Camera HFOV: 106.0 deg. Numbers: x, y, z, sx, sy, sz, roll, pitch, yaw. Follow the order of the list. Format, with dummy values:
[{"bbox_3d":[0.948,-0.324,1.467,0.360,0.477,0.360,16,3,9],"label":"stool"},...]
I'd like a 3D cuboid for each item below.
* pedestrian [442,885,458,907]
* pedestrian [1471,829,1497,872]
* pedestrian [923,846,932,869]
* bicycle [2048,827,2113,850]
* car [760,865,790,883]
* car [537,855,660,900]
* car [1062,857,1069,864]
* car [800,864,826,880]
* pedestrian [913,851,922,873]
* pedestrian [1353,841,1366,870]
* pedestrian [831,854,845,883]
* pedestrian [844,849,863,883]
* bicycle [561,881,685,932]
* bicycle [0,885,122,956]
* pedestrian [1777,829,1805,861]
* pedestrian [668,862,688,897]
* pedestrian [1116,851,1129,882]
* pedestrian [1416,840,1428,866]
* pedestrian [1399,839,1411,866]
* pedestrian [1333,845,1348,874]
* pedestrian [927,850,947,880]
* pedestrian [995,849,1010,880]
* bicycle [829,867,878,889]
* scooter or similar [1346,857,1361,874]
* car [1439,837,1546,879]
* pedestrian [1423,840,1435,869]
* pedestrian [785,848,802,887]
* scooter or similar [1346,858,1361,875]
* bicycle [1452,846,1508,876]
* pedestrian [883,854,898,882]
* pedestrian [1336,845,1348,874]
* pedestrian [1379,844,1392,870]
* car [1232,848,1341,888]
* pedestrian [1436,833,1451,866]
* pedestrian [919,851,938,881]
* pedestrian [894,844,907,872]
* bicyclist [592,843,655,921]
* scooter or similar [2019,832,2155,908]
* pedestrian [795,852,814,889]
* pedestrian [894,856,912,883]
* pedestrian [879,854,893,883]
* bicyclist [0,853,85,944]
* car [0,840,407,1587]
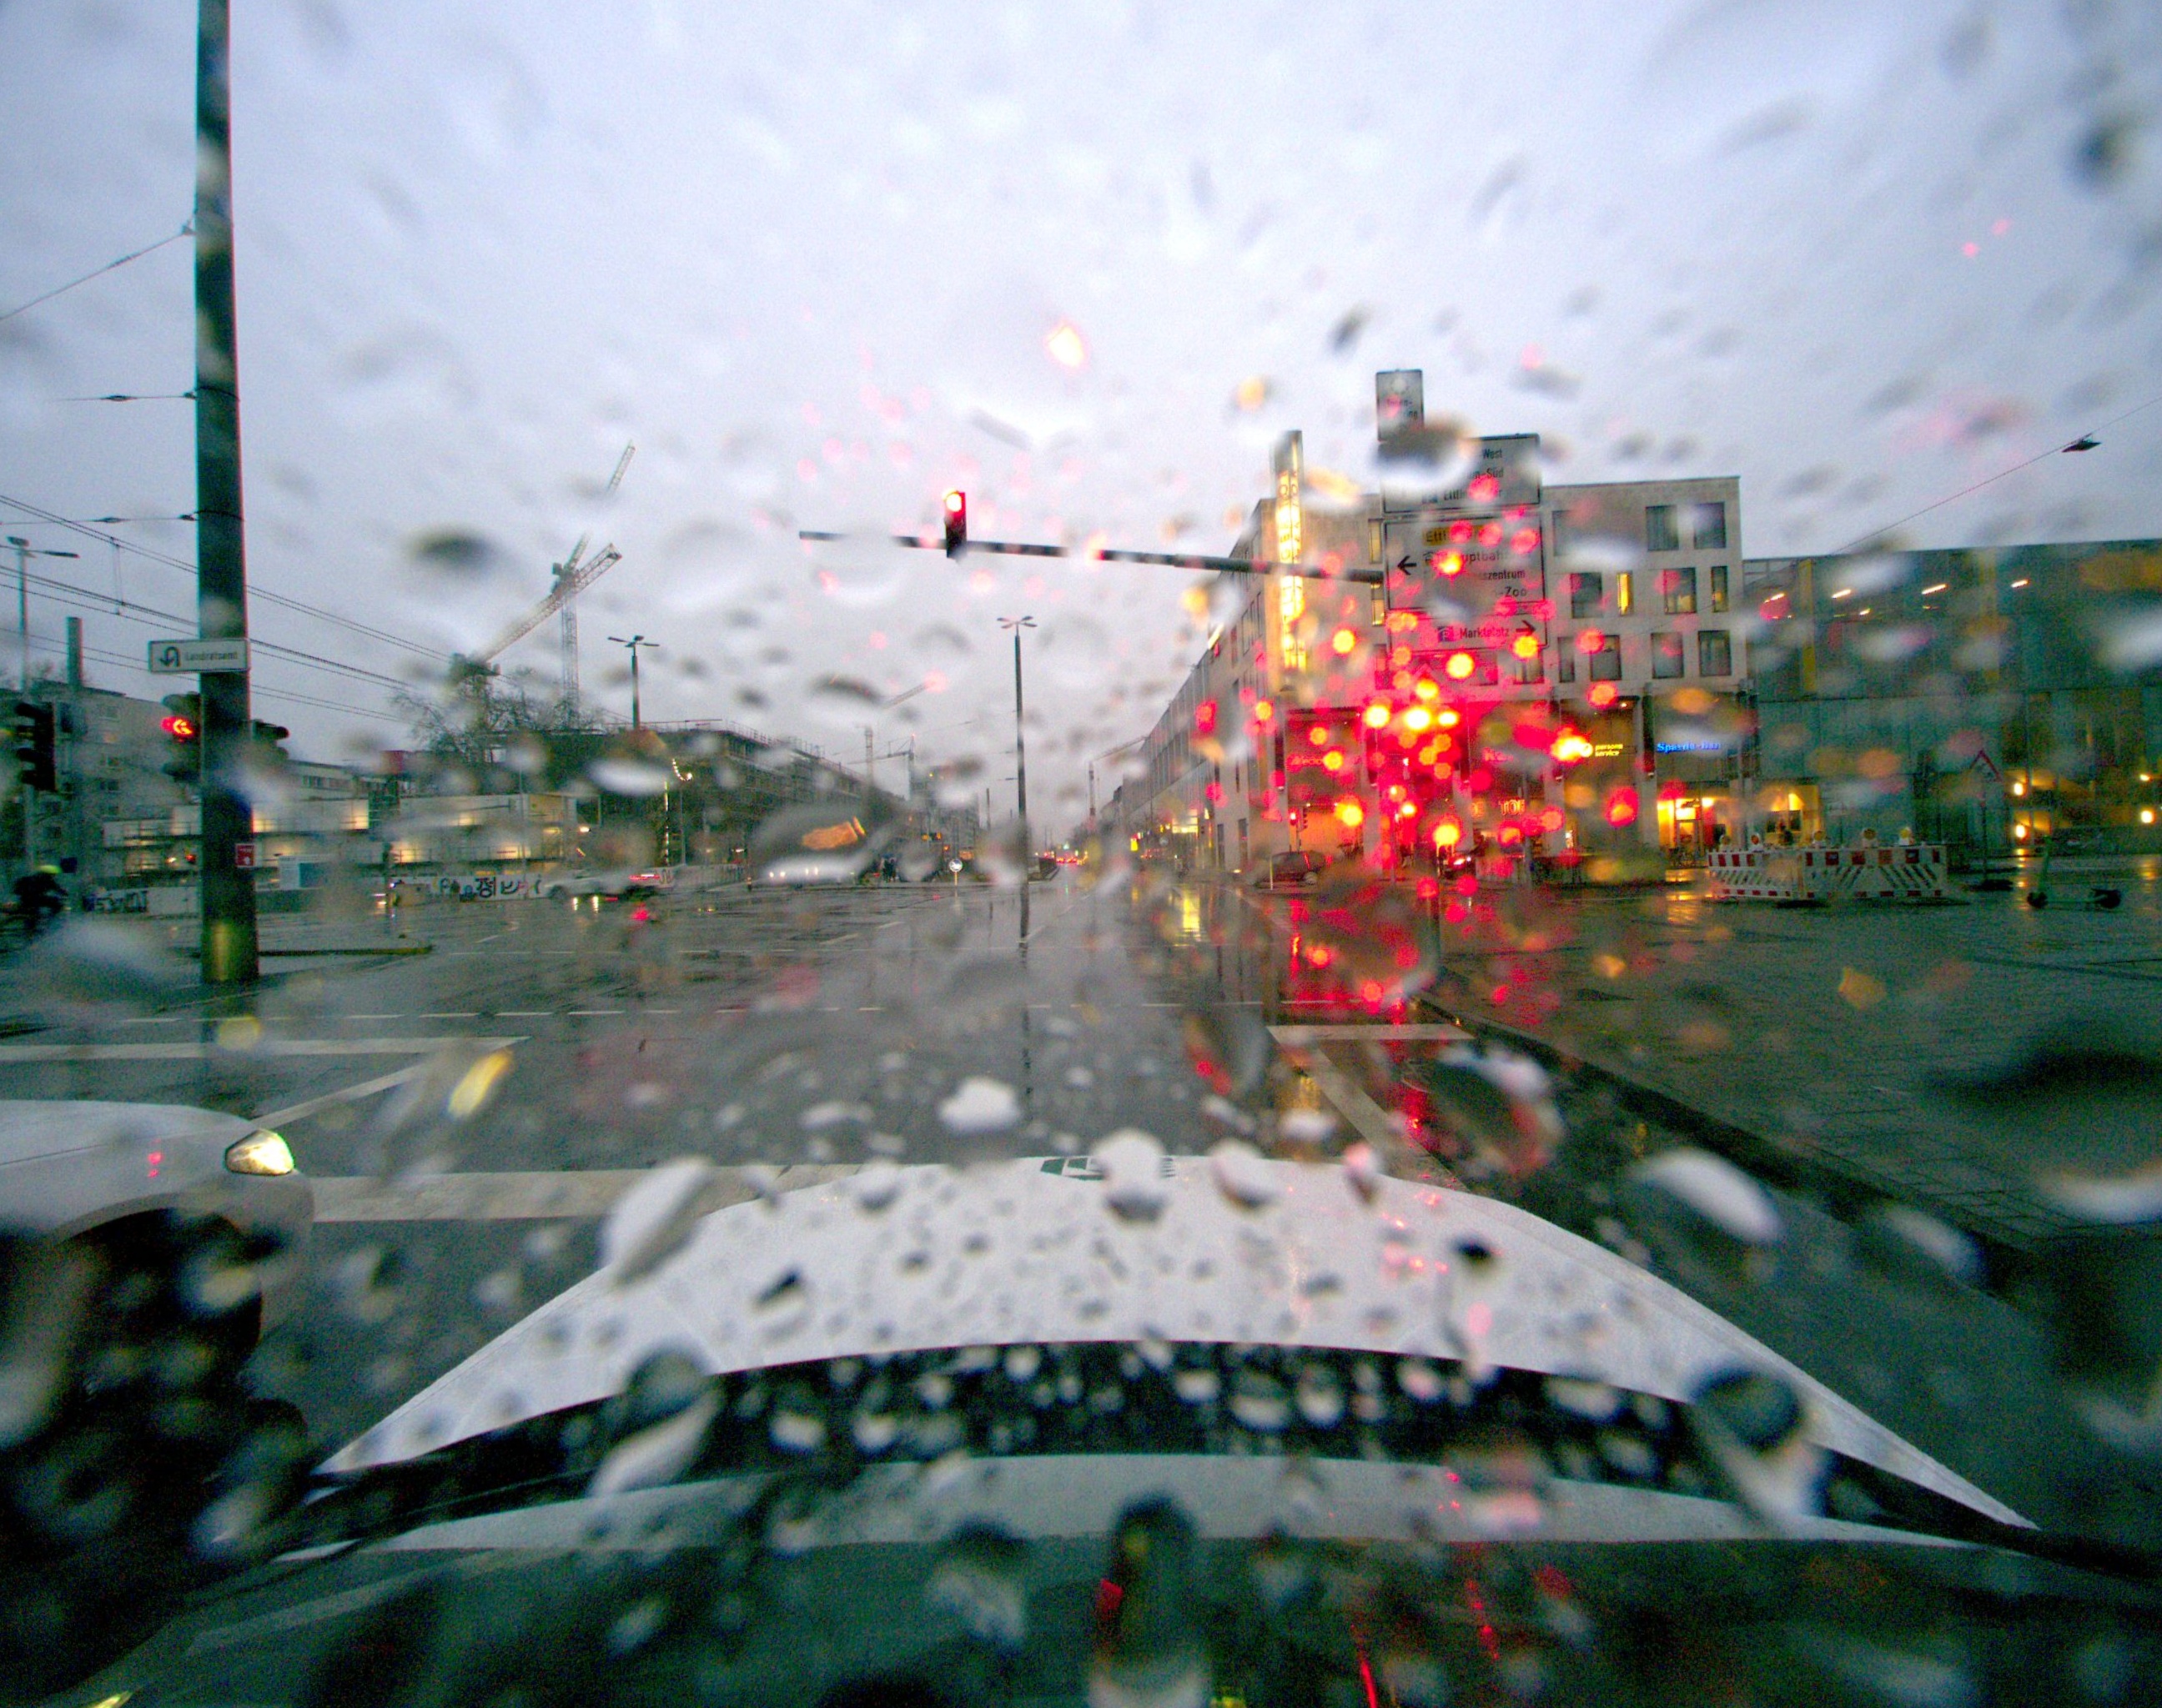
[{"bbox_3d":[-45.193,2.975,58.356,0.799,1.529,0.639,-2,-1,-33],"label":"pedestrian"},{"bbox_3d":[15.527,-0.133,31.393,0.775,1.595,0.616,-2,-1,17],"label":"pedestrian"},{"bbox_3d":[-12.089,0.297,64.108,0.660,1.746,0.733,-2,-1,-9],"label":"pedestrian"},{"bbox_3d":[48.577,-0.747,39.606,0.613,1.033,2.138,-2,0,3],"label":"bicycle"},{"bbox_3d":[-35.282,2.280,93.917,1.988,2.013,3.997,-2,0,-2],"label":"car"},{"bbox_3d":[-20.860,0.988,35.310,4.286,1.761,1.708,-2,0,2],"label":"car"},{"bbox_3d":[-4.366,1.855,229.997,1.881,1.783,3.715,-1,-1,2],"label":"car"},{"bbox_3d":[-35.461,2.395,107.916,1.986,2.013,4.002,-2,0,2],"label":"car"},{"bbox_3d":[-13.363,0.631,66.469,0.610,1.746,0.620,-2,-1,-4],"label":"pedestrian"},{"bbox_3d":[17.091,0.087,49.977,0.530,1.718,0.505,-3,-1,39],"label":"pedestrian"},{"bbox_3d":[-13.985,0.831,46.867,0.679,1.619,0.705,-2,-1,-16],"label":"pedestrian"},{"bbox_3d":[-10.735,0.556,38.436,0.814,1.570,0.535,0,-3,-8],"label":"pedestrian"},{"bbox_3d":[-10.362,1.183,18.483,2.369,1.033,0.616,-2,-1,-6],"label":"bicycle"},{"bbox_3d":[-22.216,1.422,17.146,2.829,1.362,0.719,-3,-1,-8],"label":"bicycle"},{"bbox_3d":[36.059,-0.459,41.365,0.791,1.631,0.709,-1,-1,1],"label":"pedestrian"},{"bbox_3d":[-23.411,1.480,47.333,0.792,2.013,0.745,-2,-1,-9],"label":"pedestrian"},{"bbox_3d":[2.420,0.721,47.401,0.631,1.772,0.484,-2,-1,0],"label":"pedestrian"},{"bbox_3d":[22.954,-0.088,54.811,0.530,1.718,0.505,-3,-1,39],"label":"pedestrian"},{"bbox_3d":[20.883,-0.095,52.546,0.530,1.718,0.505,-3,-1,39],"label":"pedestrian"},{"bbox_3d":[15.255,0.343,47.885,0.738,1.667,0.400,-2,-1,2],"label":"pedestrian"},{"bbox_3d":[-8.295,0.646,46.974,0.835,1.688,0.681,-2,-1,24],"label":"pedestrian"},{"bbox_3d":[-4.609,0.629,47.908,0.700,1.760,0.652,-2,-1,1],"label":"pedestrian"},{"bbox_3d":[-10.709,1.144,38.412,2.126,0.992,0.540,2,-5,-8],"label":"bicycle"},{"bbox_3d":[16.012,0.680,47.866,0.738,0.993,0.400,-2,-1,2],"label":"scooter or similar"},{"bbox_3d":[17.014,0.170,33.769,3.558,1.582,1.676,-2,-1,-1],"label":"car"},{"bbox_3d":[21.280,0.046,49.806,0.510,1.760,0.374,-2,-1,1],"label":"pedestrian"},{"bbox_3d":[-15.670,0.747,44.376,0.691,2.087,0.606,-2,-1,-39],"label":"pedestrian"},{"bbox_3d":[15.986,0.717,47.817,0.738,0.993,0.401,-2,-1,3],"label":"scooter or similar"},{"bbox_3d":[15.385,0.259,31.428,1.831,1.093,0.620,-2,-1,16],"label":"bicycle"},{"bbox_3d":[-11.281,0.806,48.247,0.615,1.619,0.702,-2,-1,-31],"label":"pedestrian"},{"bbox_3d":[16.035,0.335,50.005,0.530,1.718,0.505,-3,-1,39],"label":"pedestrian"},{"bbox_3d":[18.312,0.156,49.002,0.530,1.543,0.505,-3,-1,39],"label":"pedestrian"},{"bbox_3d":[9.085,0.623,35.994,4.501,1.574,1.804,-2,0,16],"label":"car"},{"bbox_3d":[18.336,-0.228,41.203,0.530,1.685,0.552,-3,-1,39],"label":"pedestrian"},{"bbox_3d":[-8.687,0.676,46.354,0.823,1.679,0.623,-2,-1,29],"label":"pedestrian"},{"bbox_3d":[-11.527,0.277,52.026,0.617,1.746,0.612,-2,-1,-4],"label":"pedestrian"},{"bbox_3d":[-10.379,0.620,18.493,1.031,1.697,0.616,-2,-1,-5],"label":"bicyclist"},{"bbox_3d":[15.853,0.240,12.873,0.603,1.130,1.236,-2,0,2],"label":"scooter or similar"},{"bbox_3d":[-15.386,0.902,45.304,0.781,2.013,0.606,-2,-1,-37],"label":"pedestrian"},{"bbox_3d":[-10.644,0.922,48.584,0.748,1.607,0.803,-2,-1,-34],"label":"pedestrian"},{"bbox_3d":[-12.168,0.909,50.759,0.615,1.746,0.614,-2,-1,9],"label":"pedestrian"},{"bbox_3d":[-21.982,0.918,17.158,0.993,1.839,0.719,-3,-1,-8],"label":"bicyclist"},{"bbox_3d":[-3.189,0.759,0.180,1.903,1.520,4.923,-2,0,0],"label":"car"}]
